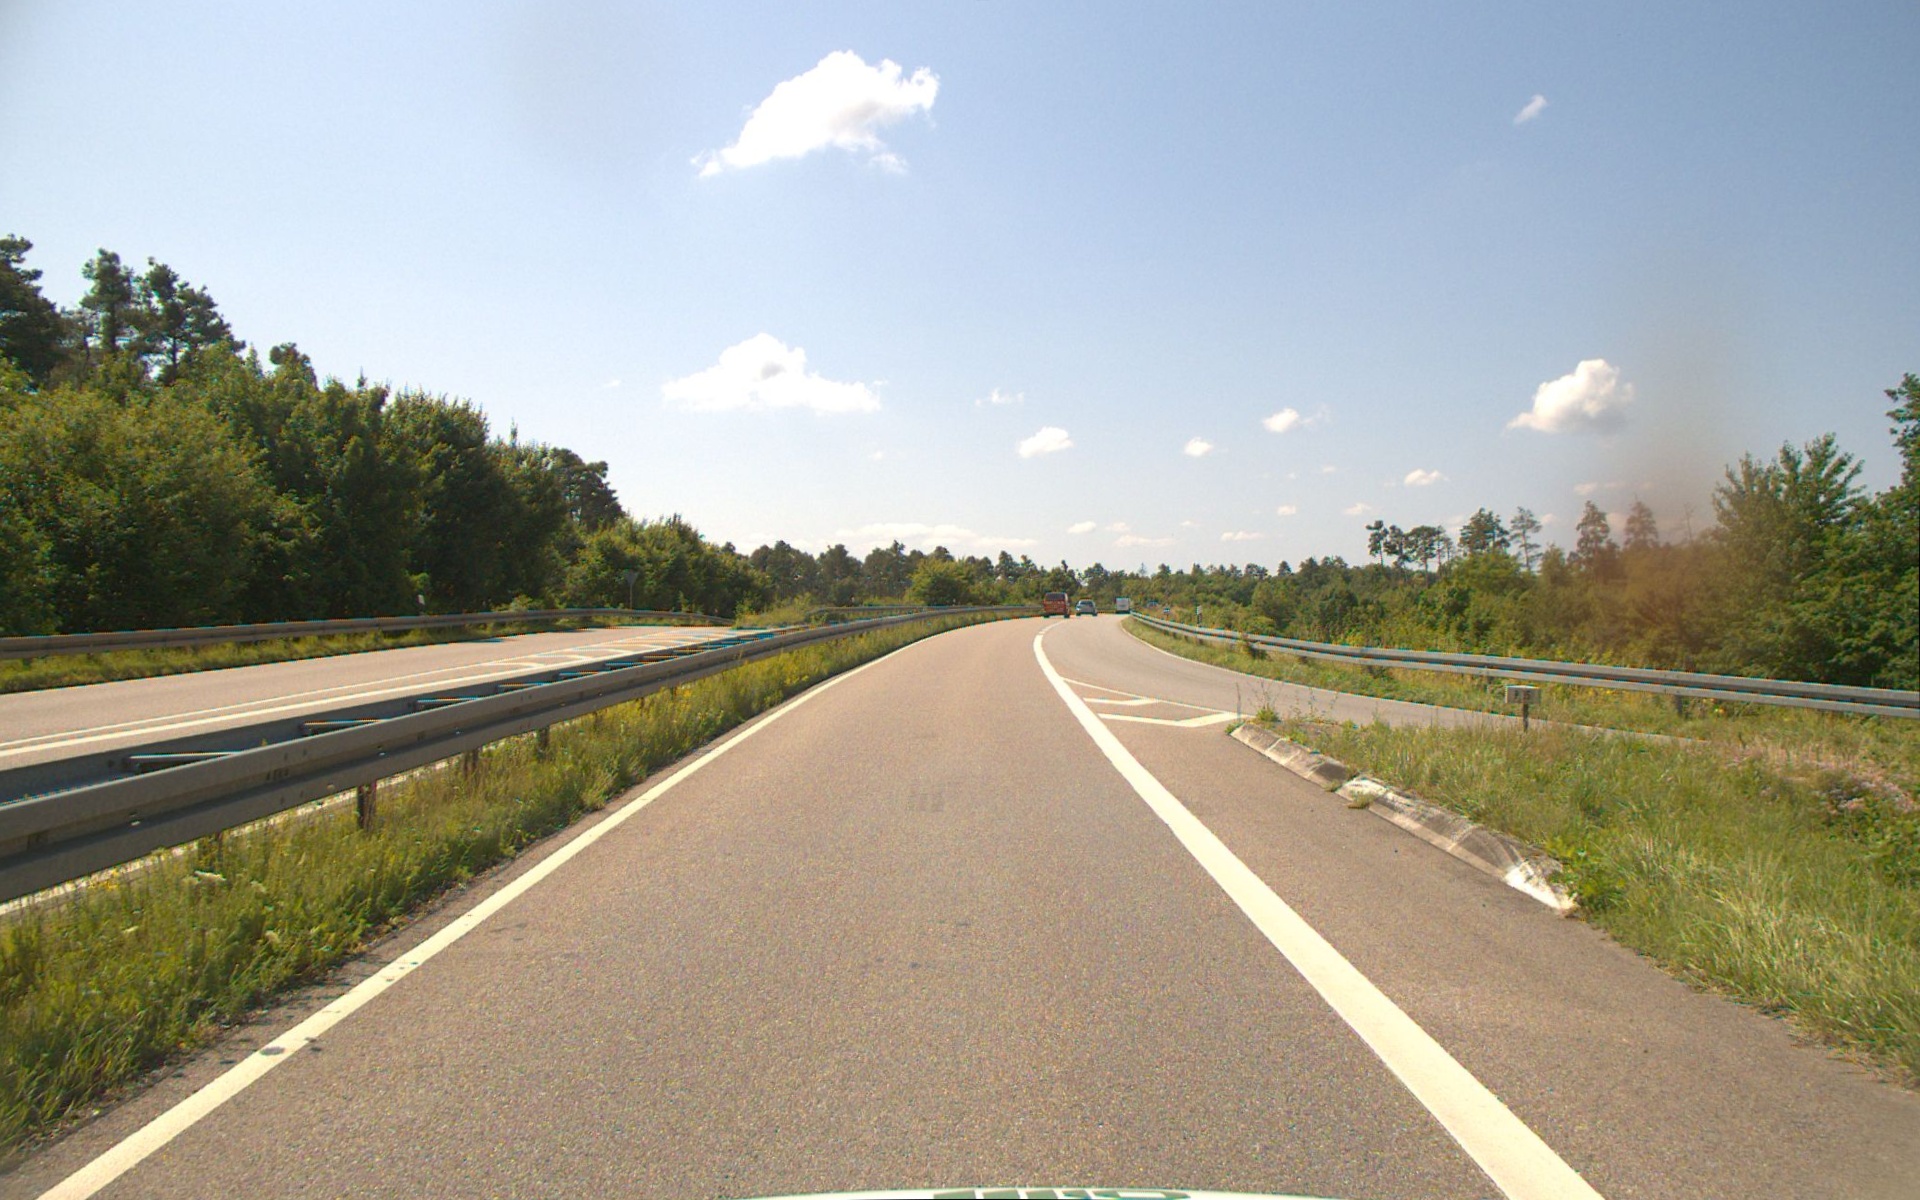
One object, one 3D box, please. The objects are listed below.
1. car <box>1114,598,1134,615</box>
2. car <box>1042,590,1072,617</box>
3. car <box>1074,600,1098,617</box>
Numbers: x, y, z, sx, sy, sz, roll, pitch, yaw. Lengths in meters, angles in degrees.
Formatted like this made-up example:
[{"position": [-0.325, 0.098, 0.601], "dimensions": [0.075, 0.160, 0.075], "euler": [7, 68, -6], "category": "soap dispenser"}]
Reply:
[{"position": [20.199, 0.799, 203.470], "dimensions": [2.138, 1.989, 5.808], "euler": [1, -1, 9], "category": "car"}, {"position": [7.650, 0.323, 130.400], "dimensions": [2.033, 2.028, 5.115], "euler": [1, -1, 7], "category": "car"}, {"position": [11.612, 0.791, 152.589], "dimensions": [1.964, 1.520, 4.241], "euler": [1, -1, 7], "category": "car"}]
